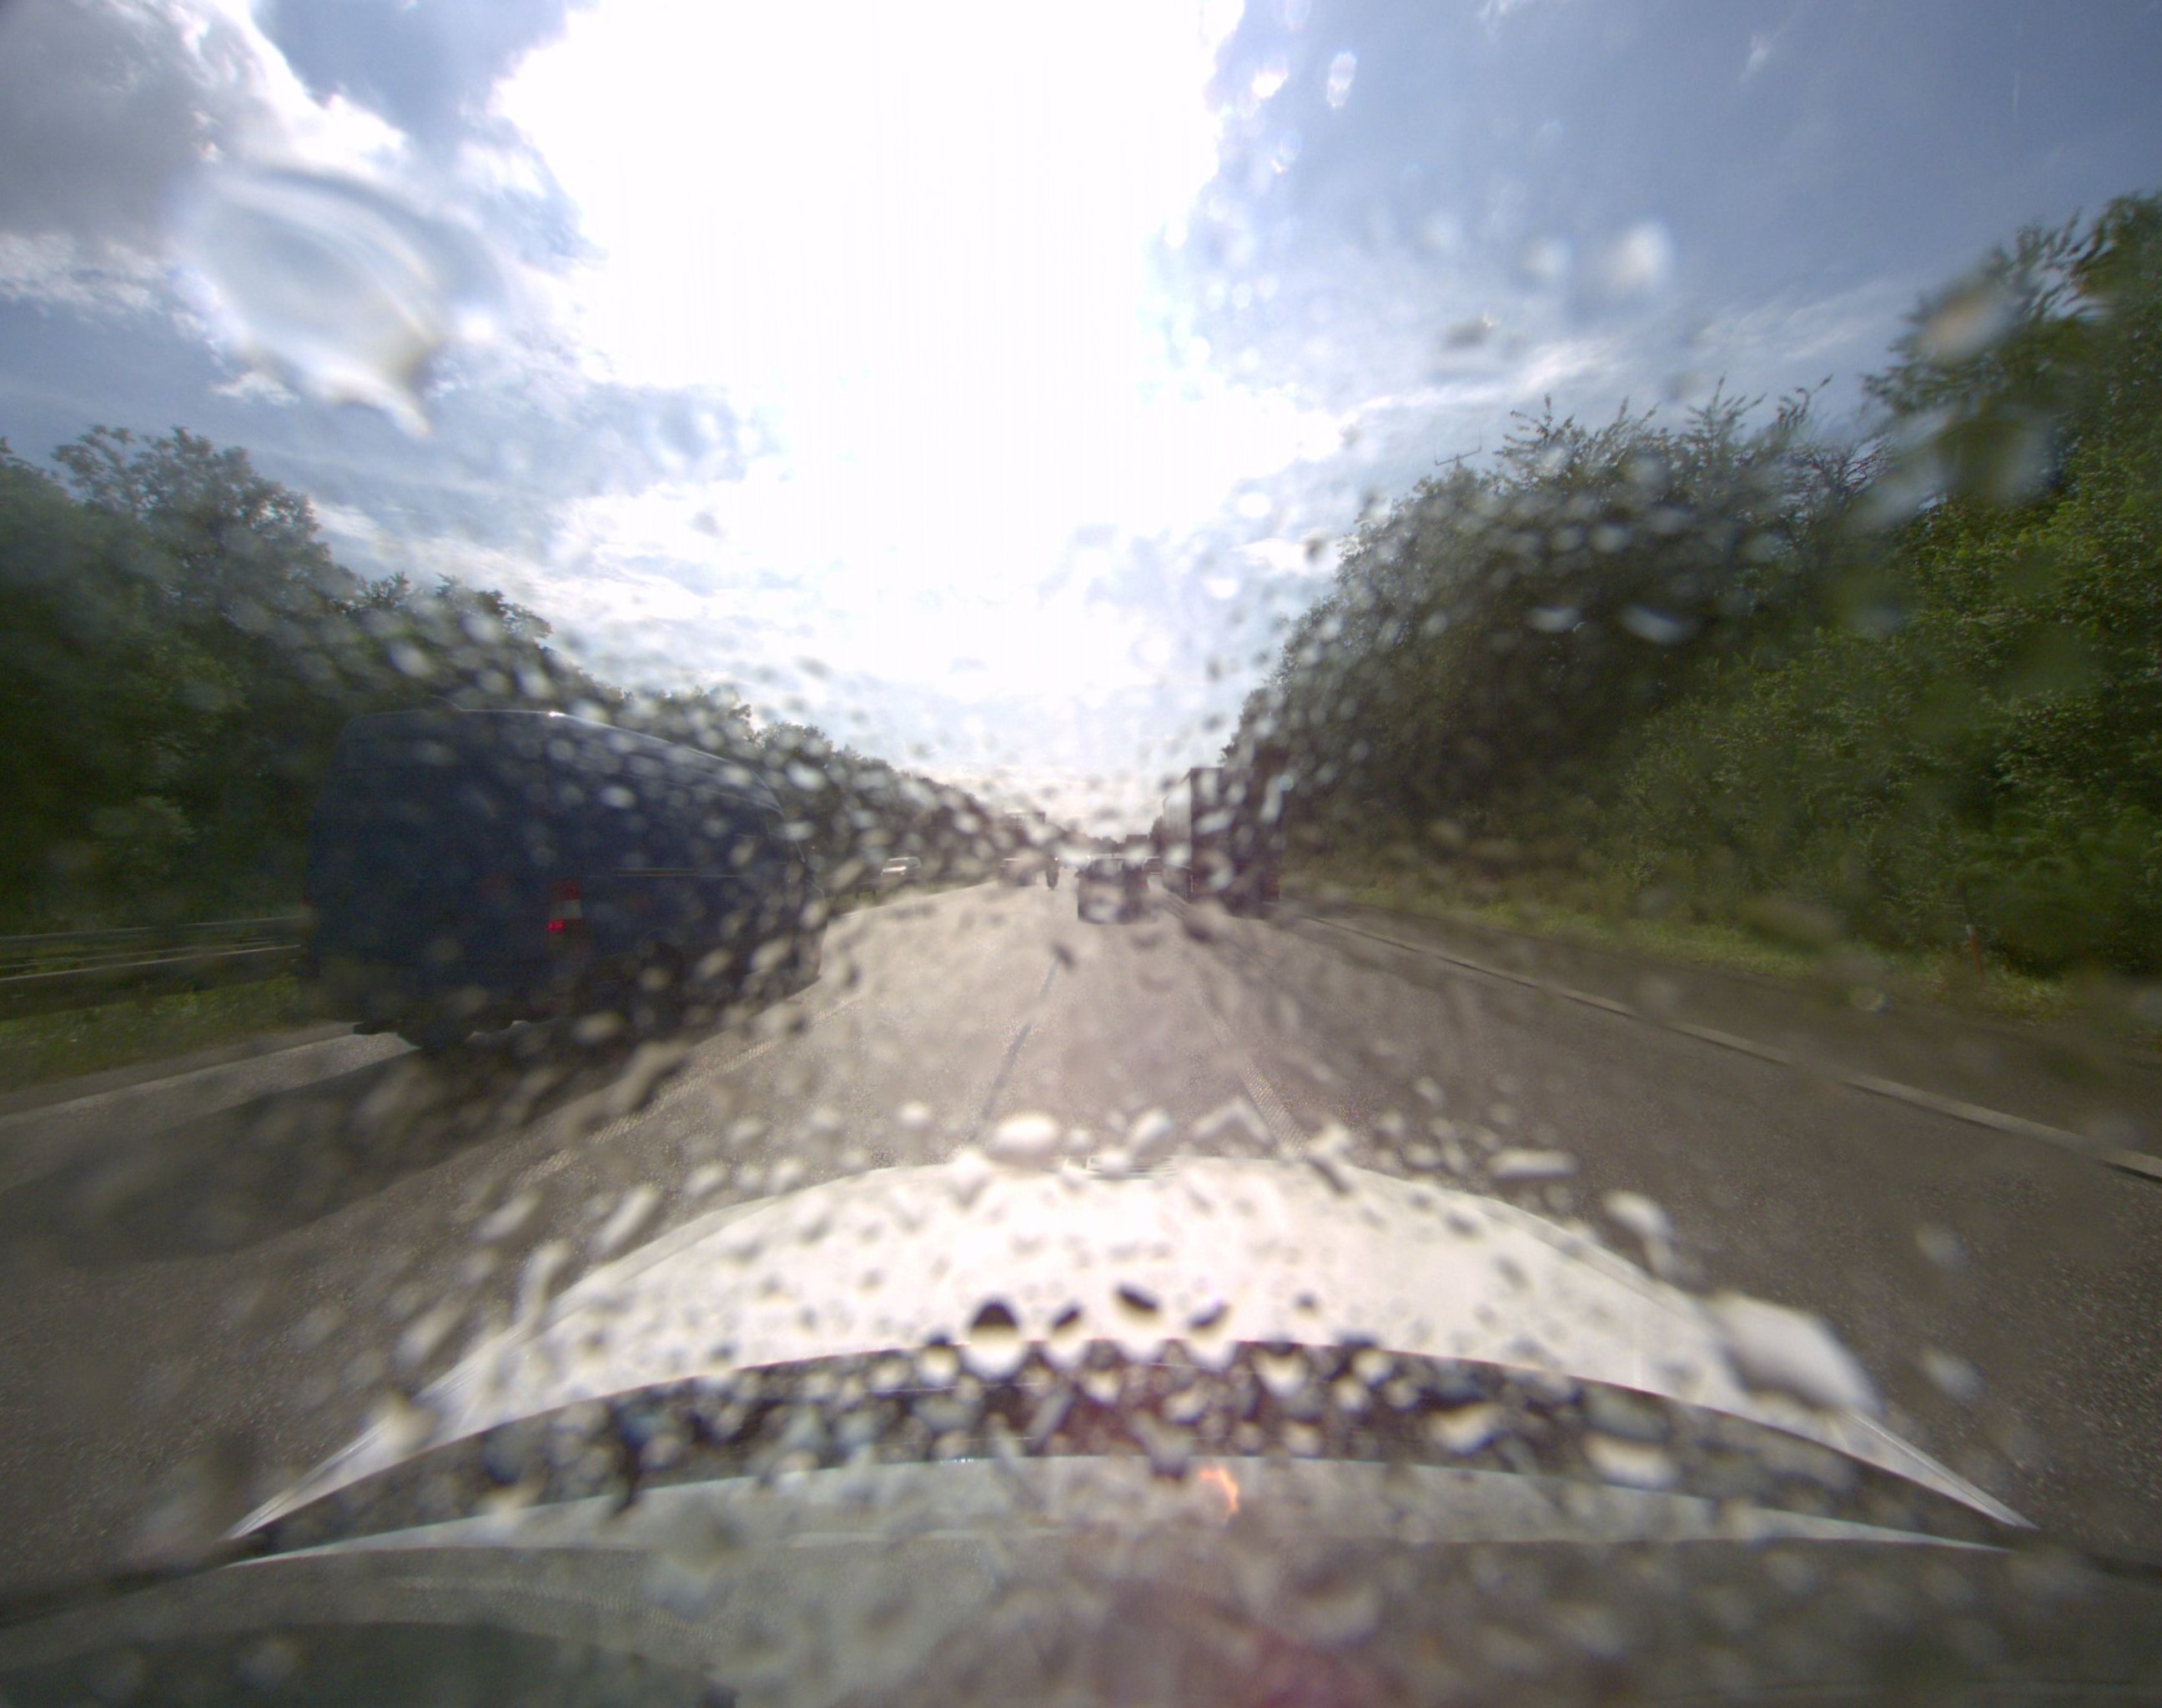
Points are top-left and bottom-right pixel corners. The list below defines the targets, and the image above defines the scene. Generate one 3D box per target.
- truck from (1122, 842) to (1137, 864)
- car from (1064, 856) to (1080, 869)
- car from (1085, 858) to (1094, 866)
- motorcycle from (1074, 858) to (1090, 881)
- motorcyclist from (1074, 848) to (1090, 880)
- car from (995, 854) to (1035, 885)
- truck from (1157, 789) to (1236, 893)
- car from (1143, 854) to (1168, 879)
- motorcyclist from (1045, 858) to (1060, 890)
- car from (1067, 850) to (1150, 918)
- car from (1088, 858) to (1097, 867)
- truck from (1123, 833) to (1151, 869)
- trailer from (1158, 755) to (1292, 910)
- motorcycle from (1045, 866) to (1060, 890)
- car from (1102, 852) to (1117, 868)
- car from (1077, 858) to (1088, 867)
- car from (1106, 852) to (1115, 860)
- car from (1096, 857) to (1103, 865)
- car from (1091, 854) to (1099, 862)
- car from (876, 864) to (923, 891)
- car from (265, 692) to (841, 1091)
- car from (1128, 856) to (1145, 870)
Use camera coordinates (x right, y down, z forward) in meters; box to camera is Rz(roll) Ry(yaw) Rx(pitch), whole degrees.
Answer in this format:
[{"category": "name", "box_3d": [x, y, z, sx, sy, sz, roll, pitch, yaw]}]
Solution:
[{"category": "truck", "box_3d": [10.867, -0.172, 183.230, 2.871, 4.687, 12.663, -1, -1, 2]}, {"category": "car", "box_3d": [-1.153, 1.051, 106.505, 1.886, 1.628, 4.196, -1, 0, 1]}, {"category": "car", "box_3d": [1.777, 1.654, 162.810, 1.669, 1.490, 3.437, -1, 0, 1]}, {"category": "motorcycle", "box_3d": [0.063, 0.876, 46.368, 0.817, 1.263, 2.118, -1, 0, 1]}, {"category": "motorcyclist", "box_3d": [0.059, 0.569, 46.350, 0.818, 1.761, 1.390, -1, -1, 1]}, {"category": "car", "box_3d": [-3.596, 0.839, 44.960, 1.752, 1.595, 4.332, -1, 0, 1]}, {"category": "truck", "box_3d": [5.116, -0.538, 37.133, 3.039, 4.325, 5.891, -1, -1, 3]}, {"category": "car", "box_3d": [6.139, 1.021, 67.452, 1.842, 2.014, 4.089, -1, -1, 2]}, {"category": "motorcyclist", "box_3d": [-1.332, 0.928, 38.181, 0.668, 1.442, 1.019, -1, -1, -2]}, {"category": "car", "box_3d": [0.696, 0.714, 21.129, 1.908, 1.565, 4.315, -1, 0, 1]}, {"category": "car", "box_3d": [2.773, 2.030, 188.911, 1.986, 2.014, 4.001, -1, -1, 1]}, {"category": "truck", "box_3d": [7.197, -0.318, 105.919, 3.190, 4.404, 9.437, -1, 0, 2]}, {"category": "trailer", "box_3d": [4.706, -0.574, 29.886, 3.075, 4.312, 14.115, -1, 0, 3]}, {"category": "motorcycle", "box_3d": [-1.326, 1.122, 38.199, 0.674, 1.087, 1.981, 0, 0, -1]}, {"category": "car", "box_3d": [3.450, 0.733, 98.524, 1.669, 1.936, 3.774, -1, 0, 1]}, {"category": "car", "box_3d": [0.221, 1.429, 136.405, 1.669, 1.597, 3.437, -1, 0, 1]}, {"category": "car", "box_3d": [5.504, 0.333, 154.218, 1.626, 1.490, 3.437, -1, 0, 1]}, {"category": "car", "box_3d": [5.088, 1.929, 227.128, 1.986, 2.014, 4.001, -1, -1, 1]}, {"category": "car", "box_3d": [3.602, 0.914, 205.233, 1.986, 2.014, 4.001, -1, -1, 1]}, {"category": "car", "box_3d": [-12.424, 1.592, 56.055, 1.901, 1.679, 4.970, -3, 0, 1]}, {"category": "car", "box_3d": [-4.402, 0.265, 8.352, 2.008, 2.648, 5.778, -1, 0, 1]}, {"category": "car", "box_3d": [5.928, 0.926, 87.664, 1.669, 1.490, 3.437, -1, 0, 1]}]
